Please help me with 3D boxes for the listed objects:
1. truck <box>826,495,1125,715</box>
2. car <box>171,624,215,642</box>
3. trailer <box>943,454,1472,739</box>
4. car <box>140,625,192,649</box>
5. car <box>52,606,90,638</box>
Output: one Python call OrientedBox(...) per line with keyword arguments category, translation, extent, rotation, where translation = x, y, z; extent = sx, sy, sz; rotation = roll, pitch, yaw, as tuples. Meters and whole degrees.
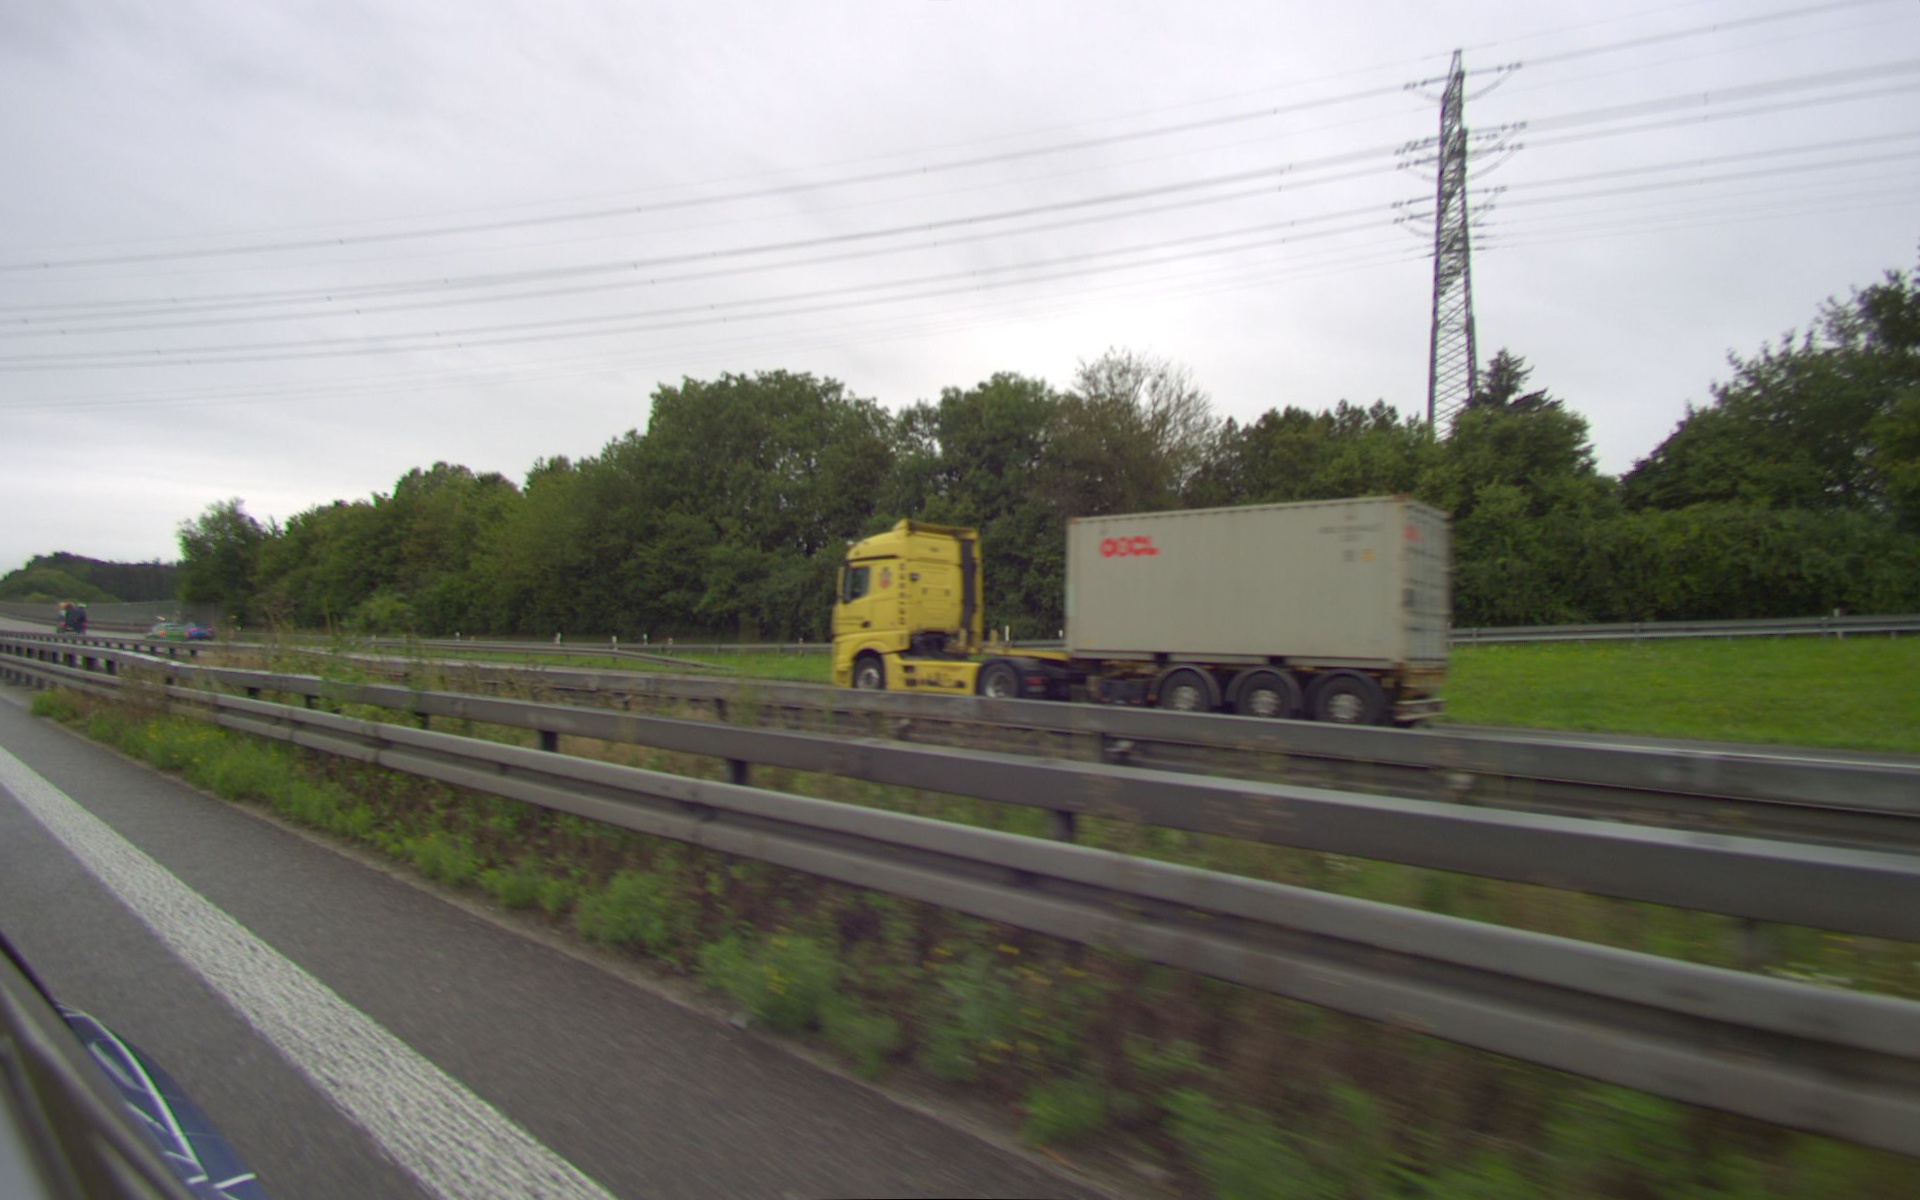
OrientedBox(category="truck", translation=(0.204, 0.197, 21.901), extent=(6.153, 4.086, 2.733), rotation=(-1, -4, 41))
OrientedBox(category="car", translation=(-68.194, 2.929, 89.975), extent=(3.991, 1.555, 1.951), rotation=(-1, -2, 35))
OrientedBox(category="trailer", translation=(4.029, 0.079, 18.572), extent=(9.195, 4.086, 2.733), rotation=(-1, -4, 41))
OrientedBox(category="car", translation=(-52.069, 2.429, 66.312), extent=(4.512, 1.505, 1.855), rotation=(-1, -3, 42))
OrientedBox(category="car", translation=(-94.324, 2.334, 107.310), extent=(6.173, 3.353, 2.230), rotation=(-1, -3, 42))
